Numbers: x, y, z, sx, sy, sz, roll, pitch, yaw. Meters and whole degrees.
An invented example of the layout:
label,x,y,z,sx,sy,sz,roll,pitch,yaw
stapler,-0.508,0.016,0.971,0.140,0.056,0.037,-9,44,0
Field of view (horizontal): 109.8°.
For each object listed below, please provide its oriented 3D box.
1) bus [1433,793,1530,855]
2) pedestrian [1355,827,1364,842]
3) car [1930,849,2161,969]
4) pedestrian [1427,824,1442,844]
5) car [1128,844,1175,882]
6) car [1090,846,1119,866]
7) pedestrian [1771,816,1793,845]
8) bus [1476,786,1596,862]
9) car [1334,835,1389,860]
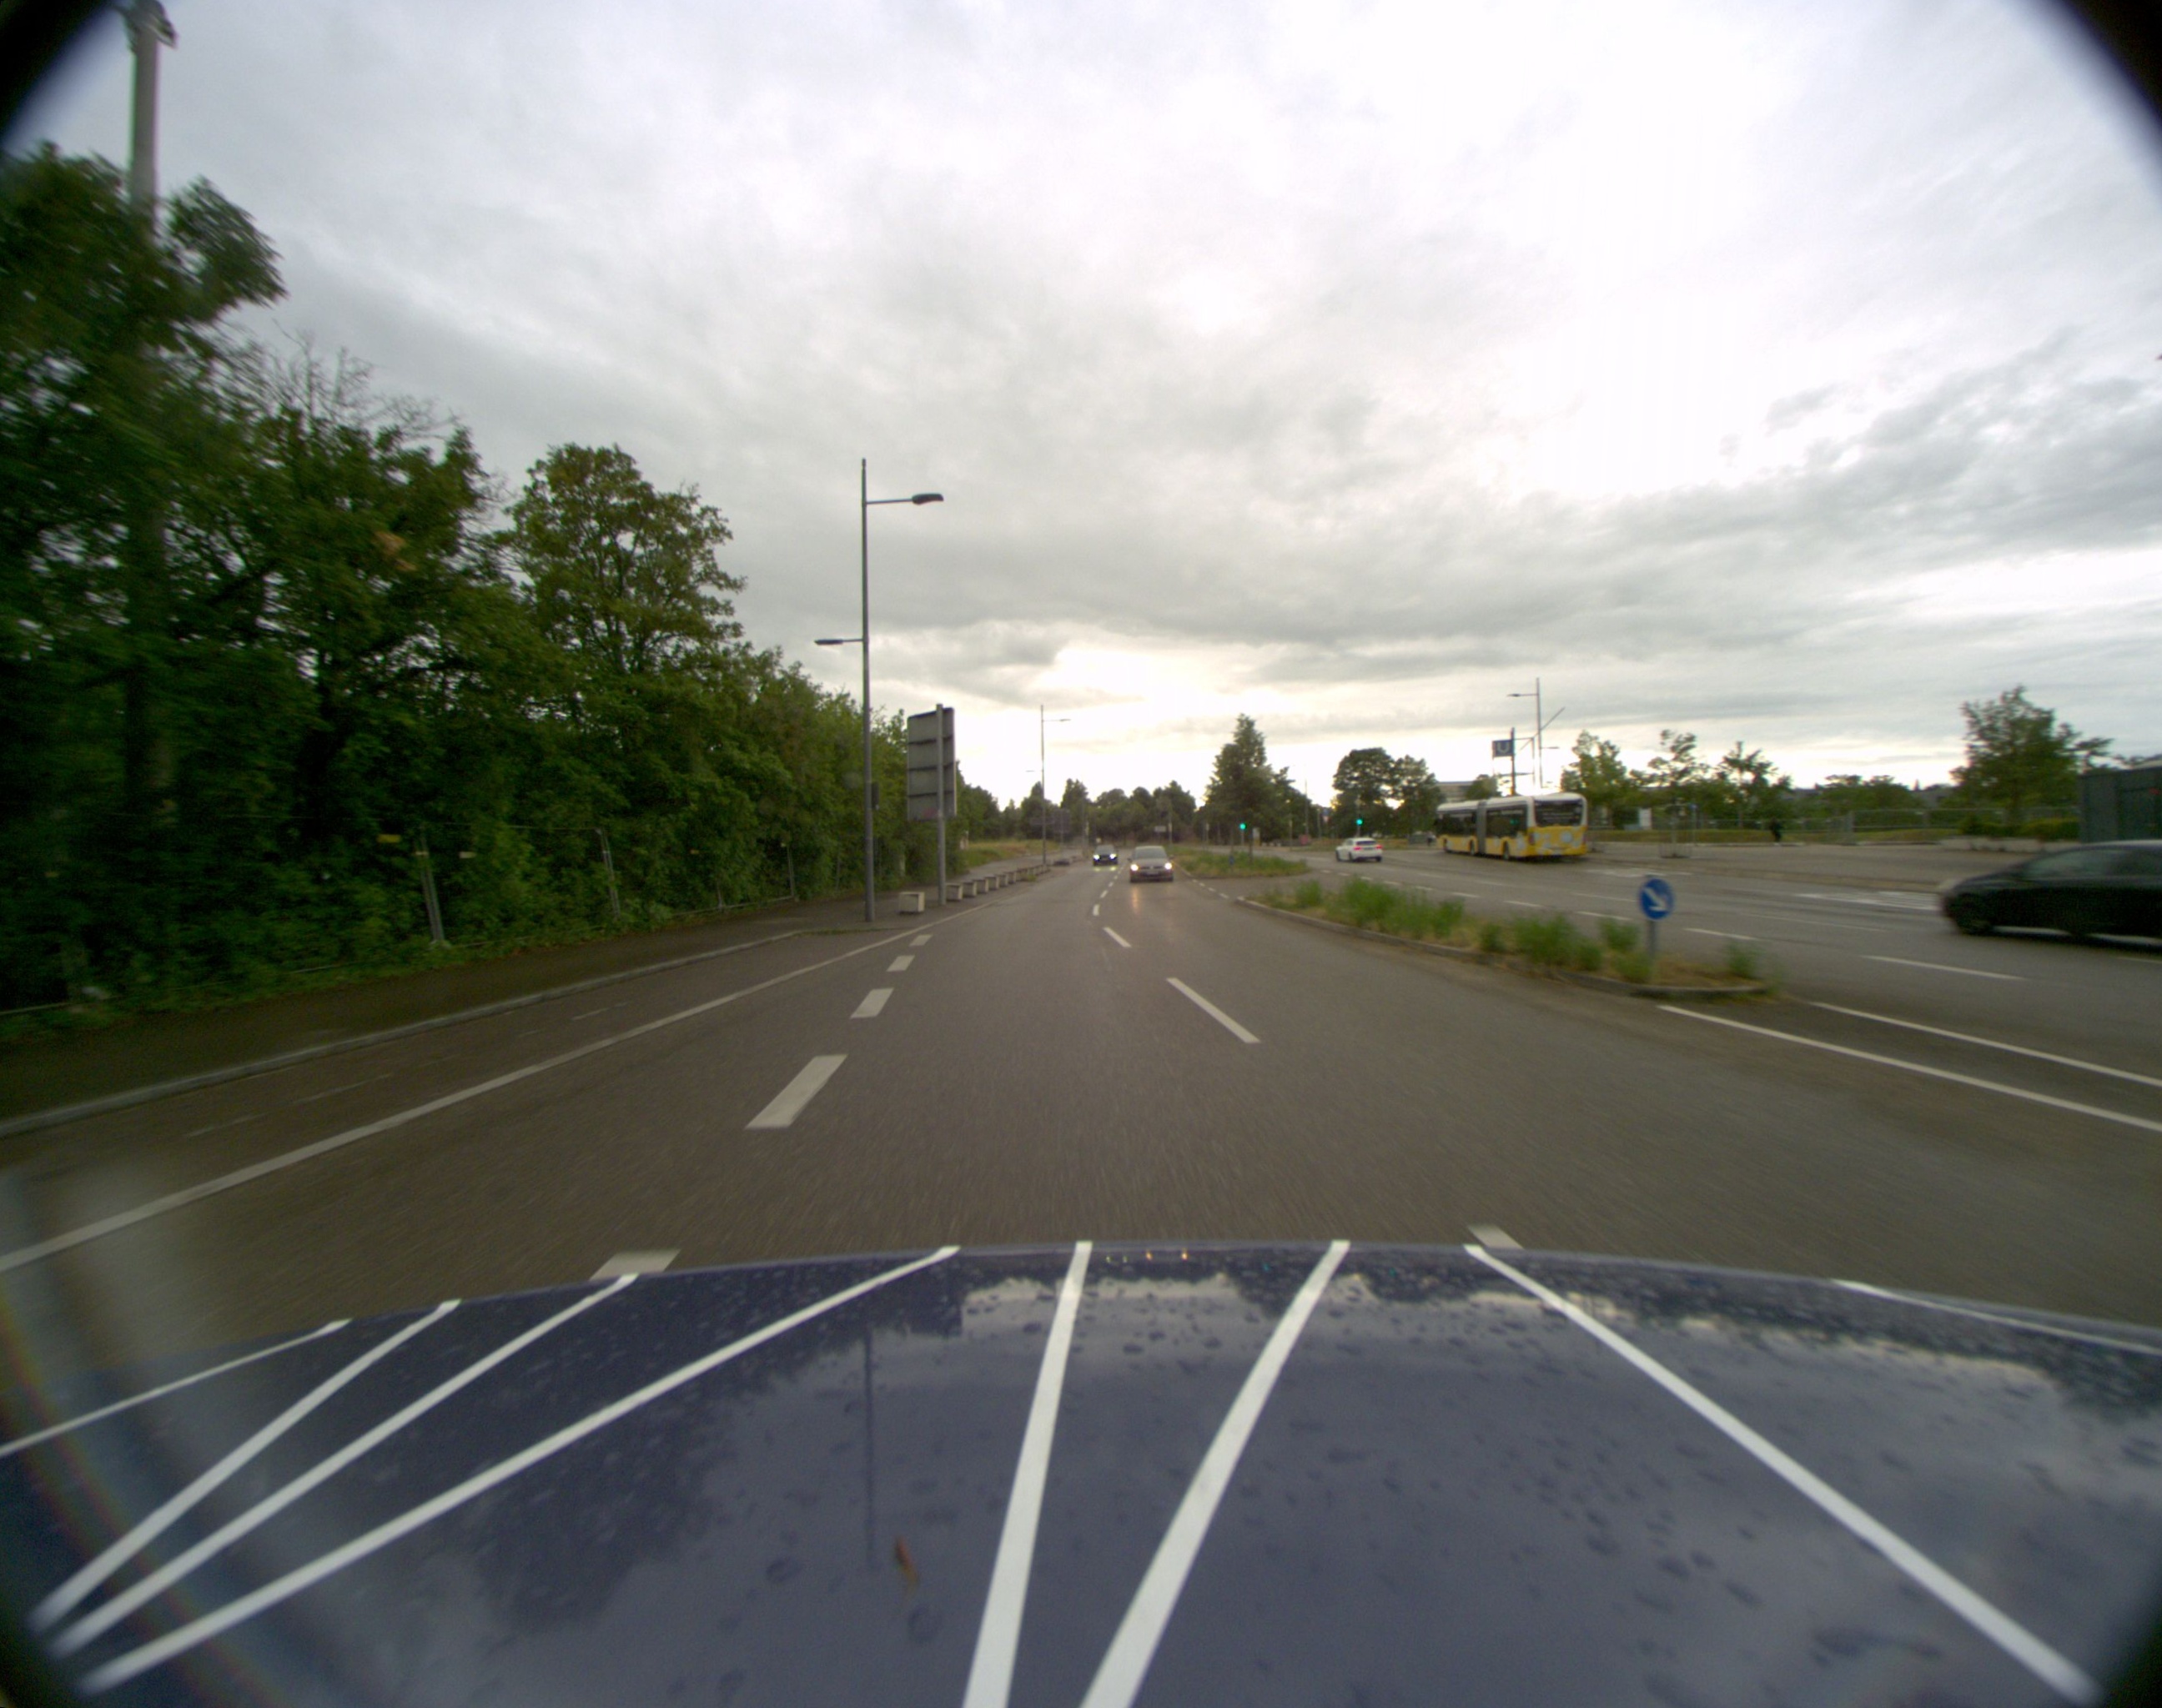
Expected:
label,x,y,z,sx,sy,sz,roll,pitch,yaw
bus,25.470,-1.888,48.915,2.826,3.453,9.980,-2,2,12
pedestrian,29.969,-2.080,81.840,0.616,1.584,0.813,-2,-1,0
car,14.456,0.683,10.236,1.850,1.454,3.868,0,1,5
pedestrian,29.433,-1.663,63.265,0.822,1.584,0.673,-2,-1,-5
car,2.931,0.343,32.111,1.809,1.421,4.198,-2,0,4
car,1.696,0.192,56.681,1.990,1.391,4.176,-2,0,0
pedestrian,37.607,-1.263,40.778,0.490,1.520,0.665,-2,-1,-1
bus,23.580,-1.544,39.962,2.826,3.453,8.236,-2,2,12
car,16.993,-0.420,46.310,1.998,1.410,4.514,-2,1,5
